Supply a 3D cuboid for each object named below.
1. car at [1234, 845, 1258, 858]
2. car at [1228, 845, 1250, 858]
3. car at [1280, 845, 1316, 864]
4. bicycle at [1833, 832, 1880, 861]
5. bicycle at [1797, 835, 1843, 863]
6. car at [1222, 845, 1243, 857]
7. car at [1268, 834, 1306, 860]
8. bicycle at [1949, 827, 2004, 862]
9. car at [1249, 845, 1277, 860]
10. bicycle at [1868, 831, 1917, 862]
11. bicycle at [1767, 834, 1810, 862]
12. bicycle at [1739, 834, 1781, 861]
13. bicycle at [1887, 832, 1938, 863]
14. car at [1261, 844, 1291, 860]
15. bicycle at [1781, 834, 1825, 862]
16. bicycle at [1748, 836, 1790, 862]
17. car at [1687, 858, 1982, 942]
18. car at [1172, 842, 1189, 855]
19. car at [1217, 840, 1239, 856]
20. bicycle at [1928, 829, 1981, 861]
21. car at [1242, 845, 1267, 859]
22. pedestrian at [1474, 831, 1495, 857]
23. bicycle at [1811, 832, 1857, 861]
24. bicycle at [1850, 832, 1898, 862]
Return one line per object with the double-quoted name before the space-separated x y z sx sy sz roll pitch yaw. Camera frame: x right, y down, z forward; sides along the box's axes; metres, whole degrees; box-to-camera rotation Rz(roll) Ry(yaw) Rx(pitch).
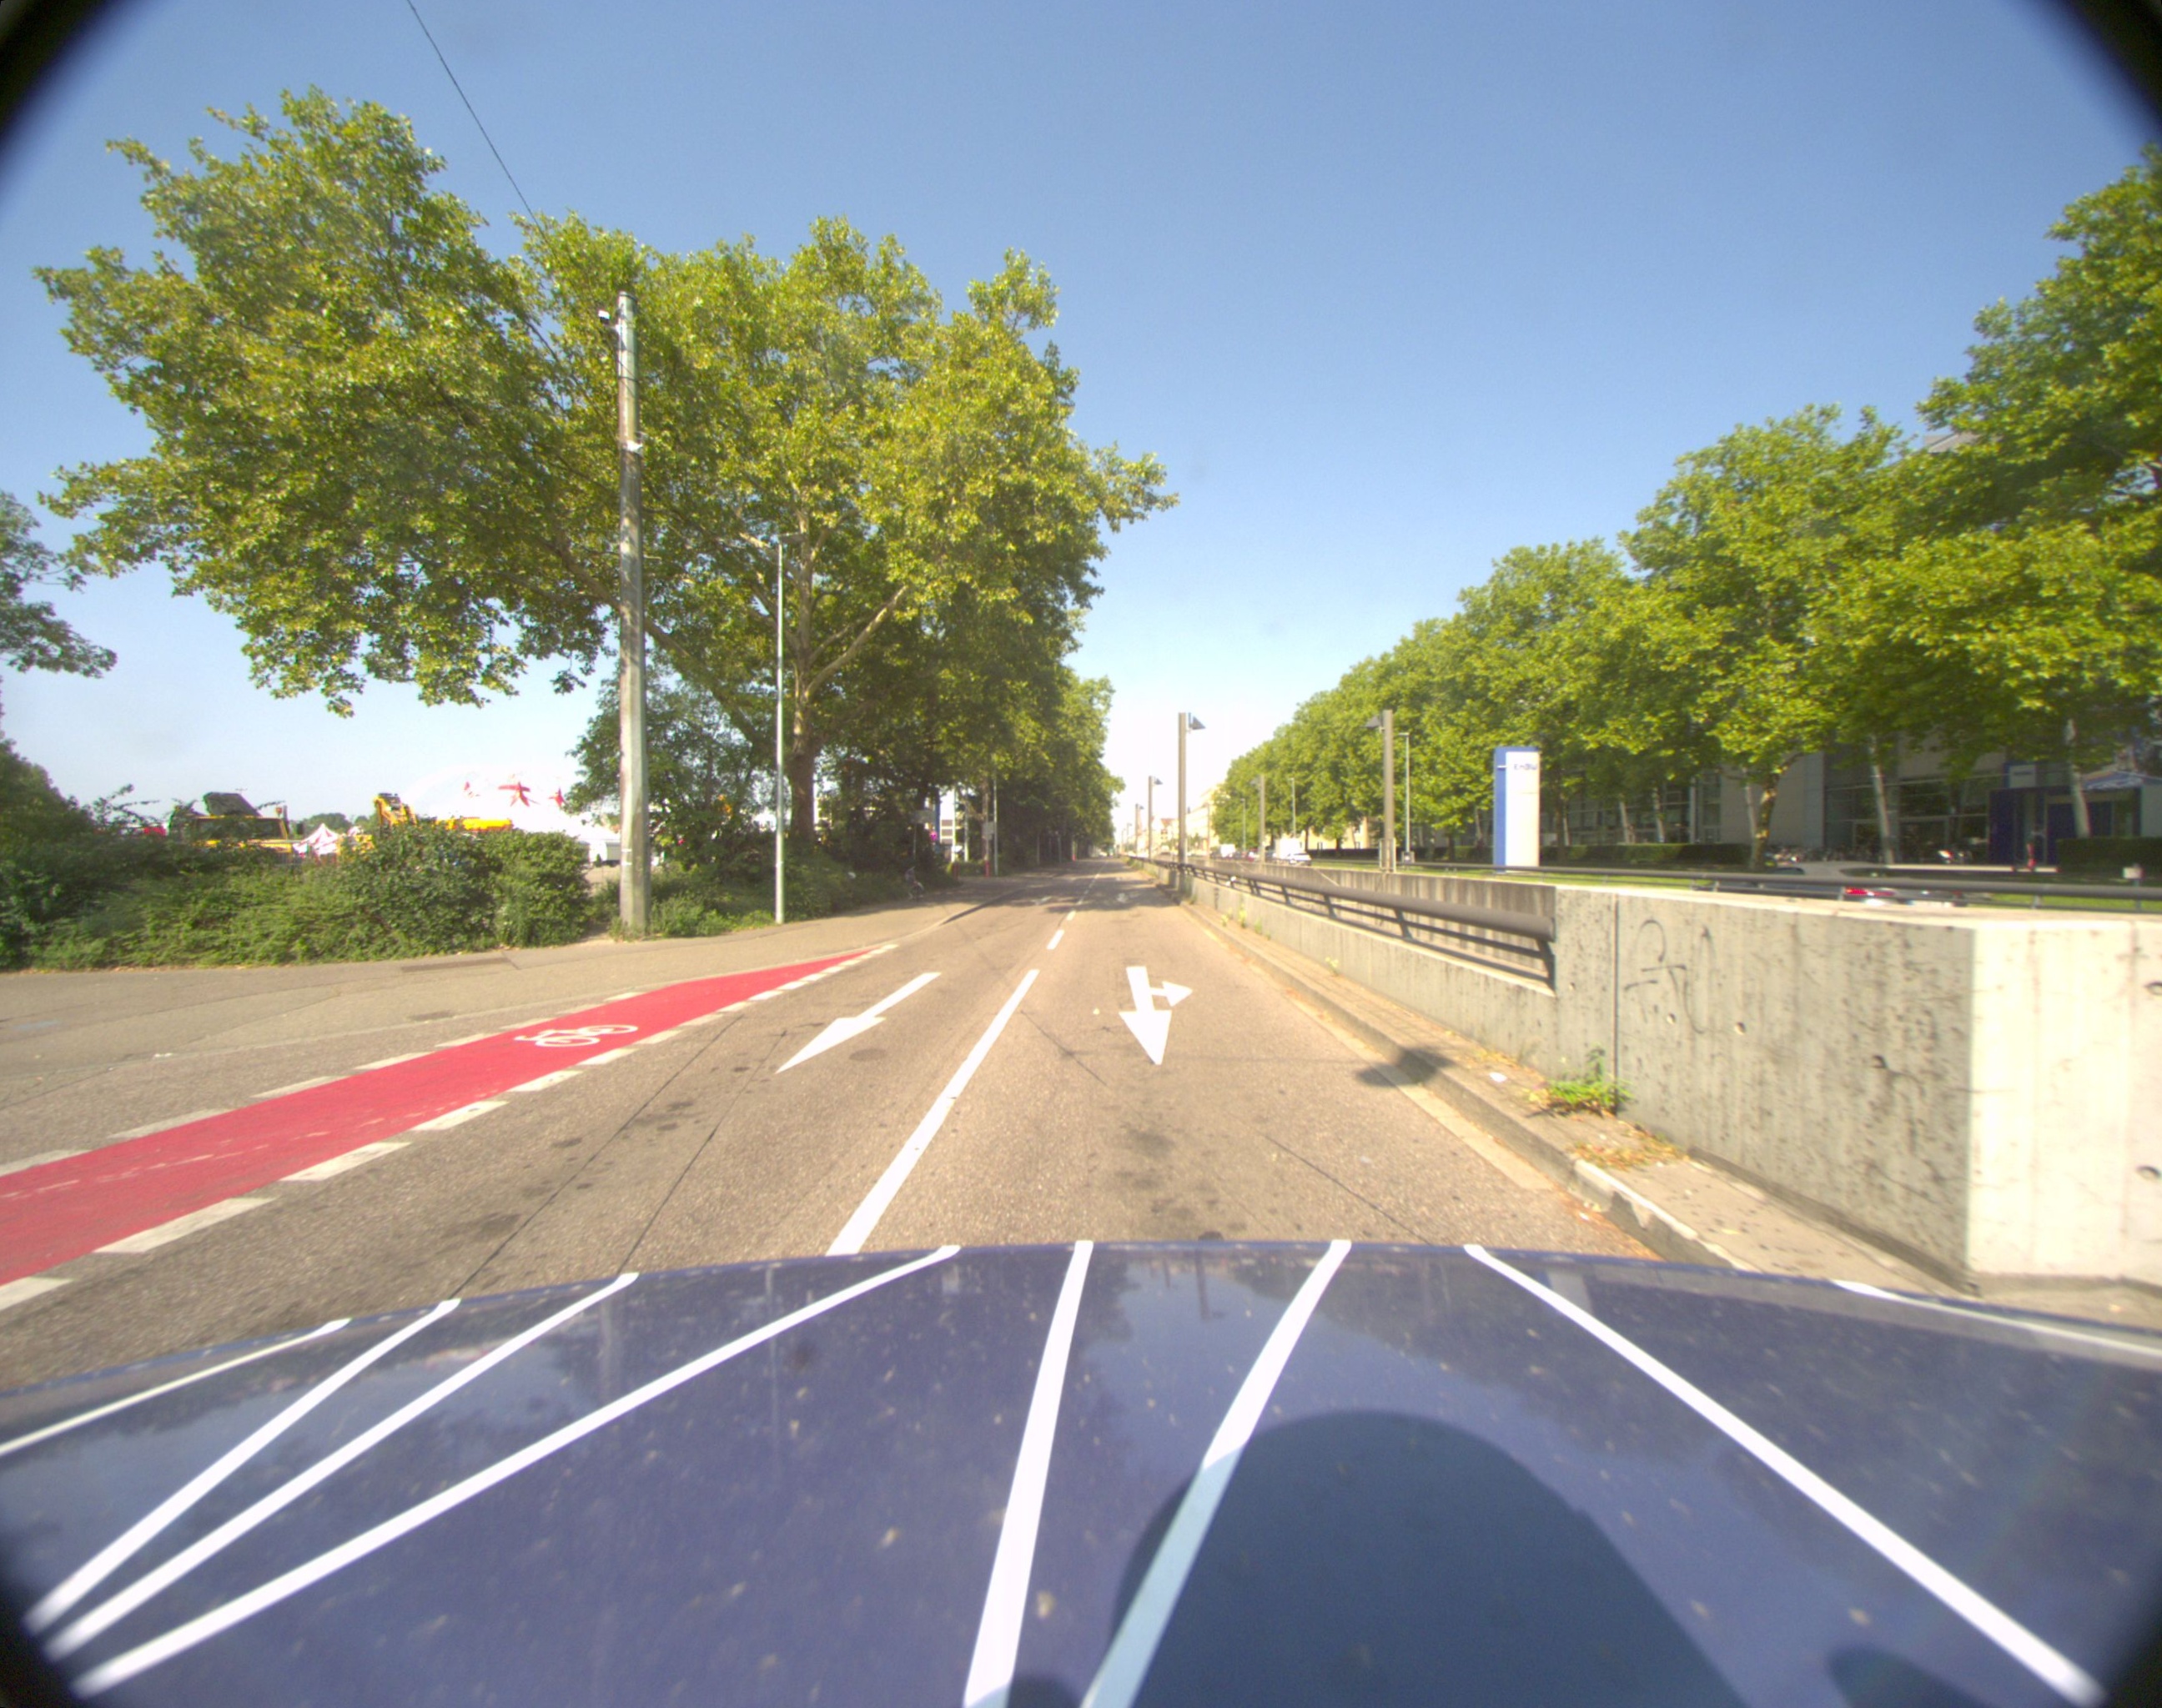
"car" 20.000 -0.288 92.166 1.998 1.445 4.000 -3 1 1
"car" 20.103 -0.345 96.604 1.998 1.445 4.000 -3 1 1
"car" 18.580 0.043 65.163 1.998 1.445 4.000 -3 1 1
"bicycle" 43.779 -0.409 42.899 2.169 1.546 0.600 -3 1 -5
"bicycle" 43.476 -0.318 44.708 2.169 1.546 0.600 -3 1 -5
"car" 20.484 -0.405 102.981 1.998 1.445 4.000 -3 1 1
"car" 18.959 -0.698 70.193 2.291 2.220 4.655 -3 1 1
"bicycle" 44.472 -0.466 37.722 2.169 1.630 0.600 -3 1 -5
"car" 19.336 -0.144 80.886 1.998 1.445 4.000 -3 1 1
"bicycle" 44.016 -0.397 41.226 2.169 1.546 0.600 -3 1 -5
"bicycle" 43.168 -0.366 46.348 2.169 1.546 0.600 -3 1 -5
"bicycle" 43.017 -0.417 48.130 2.169 1.546 0.600 -3 1 -5
"bicycle" 44.023 -0.349 40.236 2.169 1.546 0.600 -3 1 -5
"car" 19.198 -0.181 74.921 1.998 1.445 4.000 -3 1 1
"bicycle" 43.278 -0.355 45.572 2.169 1.546 0.600 -3 1 -5
"bicycle" 43.009 -0.318 47.481 2.169 1.546 0.600 -3 1 -5
"car" 13.764 0.752 14.260 1.660 1.214 3.893 -3 1 0
"car" 16.283 -0.959 123.928 1.999 2.002 3.998 -2 1 -3
"car" 20.963 -0.872 108.737 2.291 2.068 4.655 -3 1 1
"bicycle" 44.288 -0.459 38.529 2.169 1.546 0.600 -3 1 -5
"car" 19.744 -0.284 86.600 1.998 1.445 4.000 -3 1 1
"pedestrian" 31.956 -0.765 60.223 0.948 2.002 1.349 -3 1 4
"bicycle" 43.534 -0.429 43.949 2.169 1.546 0.600 -3 1 -5
"bicycle" 43.888 -0.368 42.053 2.169 1.546 0.600 -3 1 -5
